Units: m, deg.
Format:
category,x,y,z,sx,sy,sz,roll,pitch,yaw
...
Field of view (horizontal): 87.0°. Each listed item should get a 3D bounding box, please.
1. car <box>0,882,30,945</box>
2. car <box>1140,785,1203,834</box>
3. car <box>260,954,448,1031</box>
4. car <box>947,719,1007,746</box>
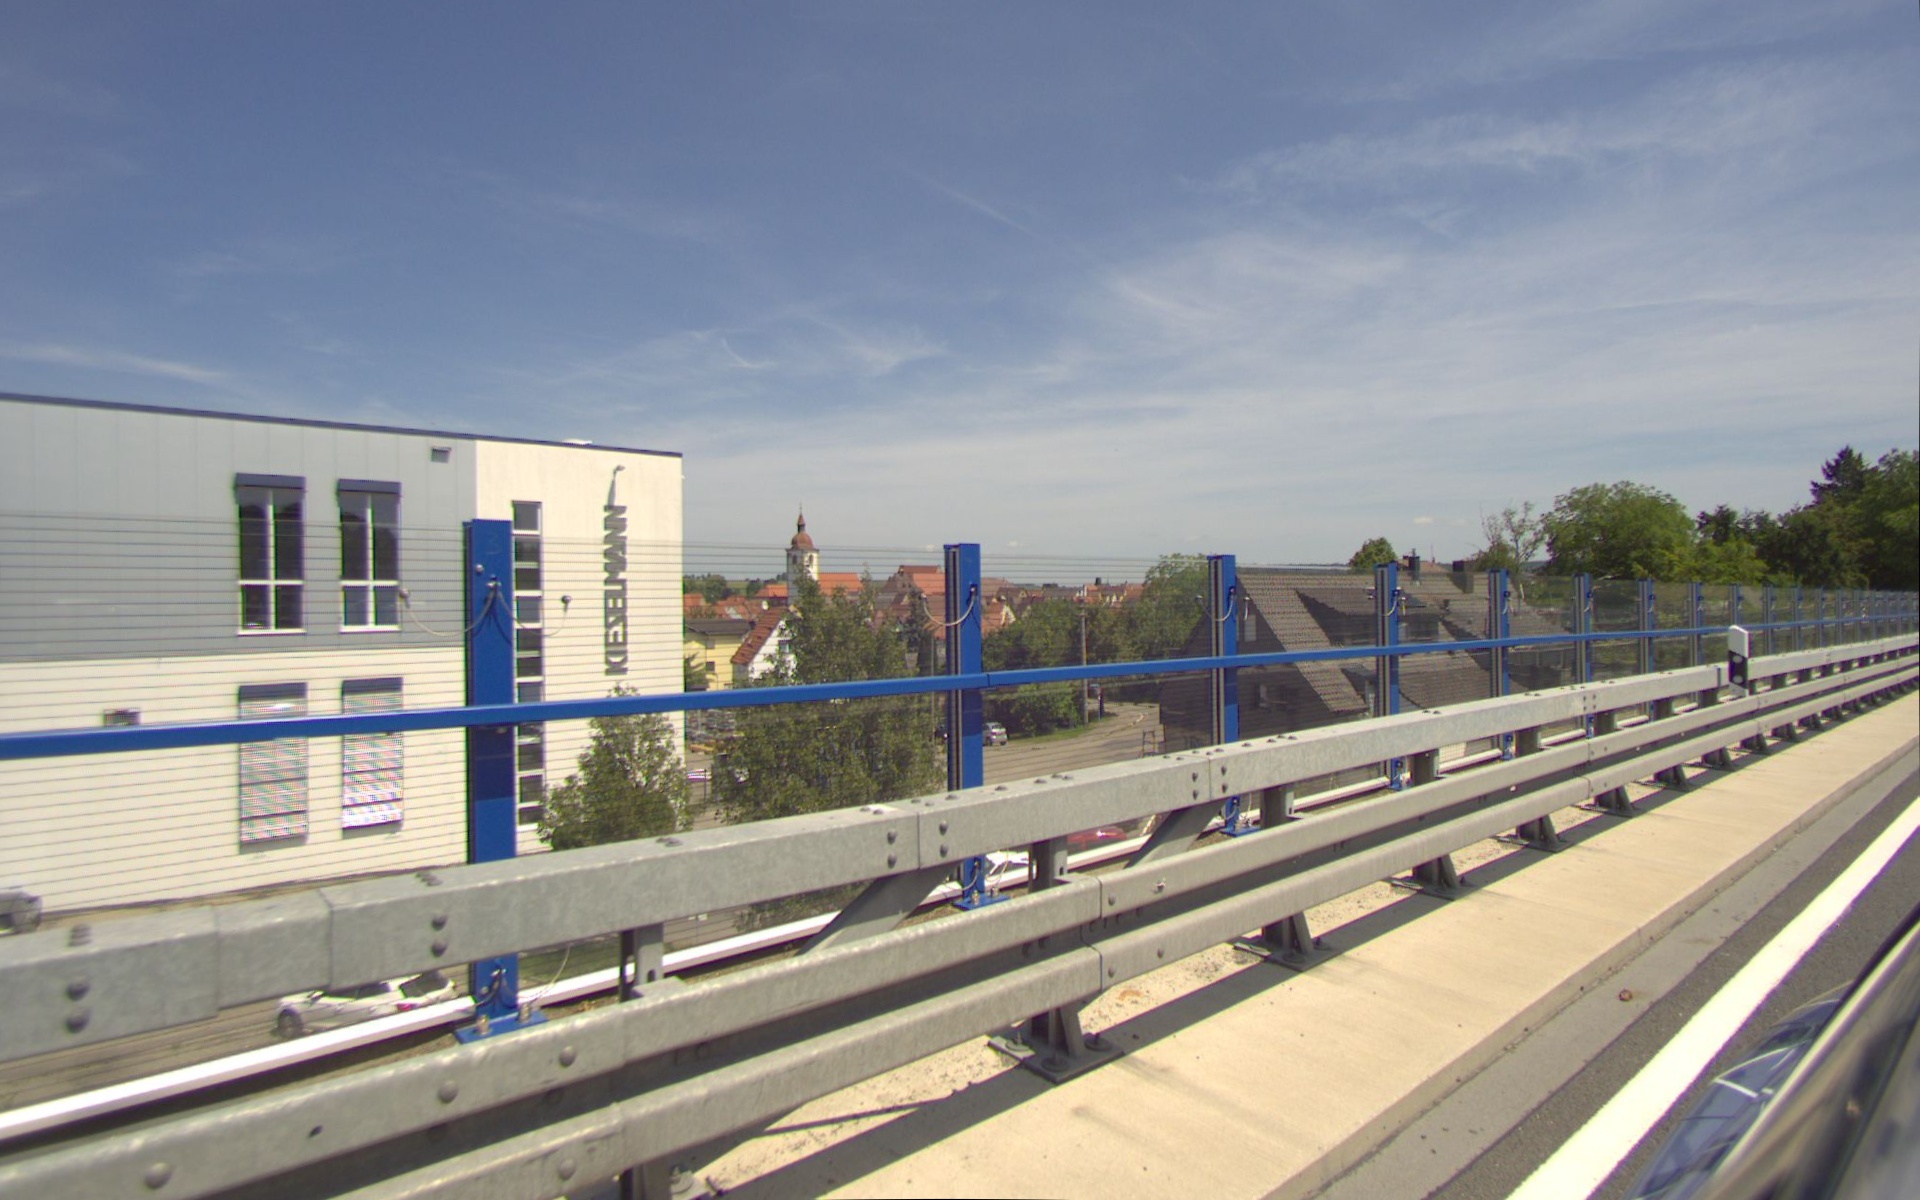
category,x,y,z,sx,sy,sz,roll,pitch,yaw
car,-26.409,8.570,27.401,1.484,1.164,3.675,-1,-6,-38
car,8.859,8.693,42.153,1.708,1.385,3.967,-7,-5,23
car,-13.216,8.556,22.099,3.627,1.164,1.386,-6,-5,14
car,1.188,9.301,70.824,1.793,1.589,3.986,-1,-7,-44
